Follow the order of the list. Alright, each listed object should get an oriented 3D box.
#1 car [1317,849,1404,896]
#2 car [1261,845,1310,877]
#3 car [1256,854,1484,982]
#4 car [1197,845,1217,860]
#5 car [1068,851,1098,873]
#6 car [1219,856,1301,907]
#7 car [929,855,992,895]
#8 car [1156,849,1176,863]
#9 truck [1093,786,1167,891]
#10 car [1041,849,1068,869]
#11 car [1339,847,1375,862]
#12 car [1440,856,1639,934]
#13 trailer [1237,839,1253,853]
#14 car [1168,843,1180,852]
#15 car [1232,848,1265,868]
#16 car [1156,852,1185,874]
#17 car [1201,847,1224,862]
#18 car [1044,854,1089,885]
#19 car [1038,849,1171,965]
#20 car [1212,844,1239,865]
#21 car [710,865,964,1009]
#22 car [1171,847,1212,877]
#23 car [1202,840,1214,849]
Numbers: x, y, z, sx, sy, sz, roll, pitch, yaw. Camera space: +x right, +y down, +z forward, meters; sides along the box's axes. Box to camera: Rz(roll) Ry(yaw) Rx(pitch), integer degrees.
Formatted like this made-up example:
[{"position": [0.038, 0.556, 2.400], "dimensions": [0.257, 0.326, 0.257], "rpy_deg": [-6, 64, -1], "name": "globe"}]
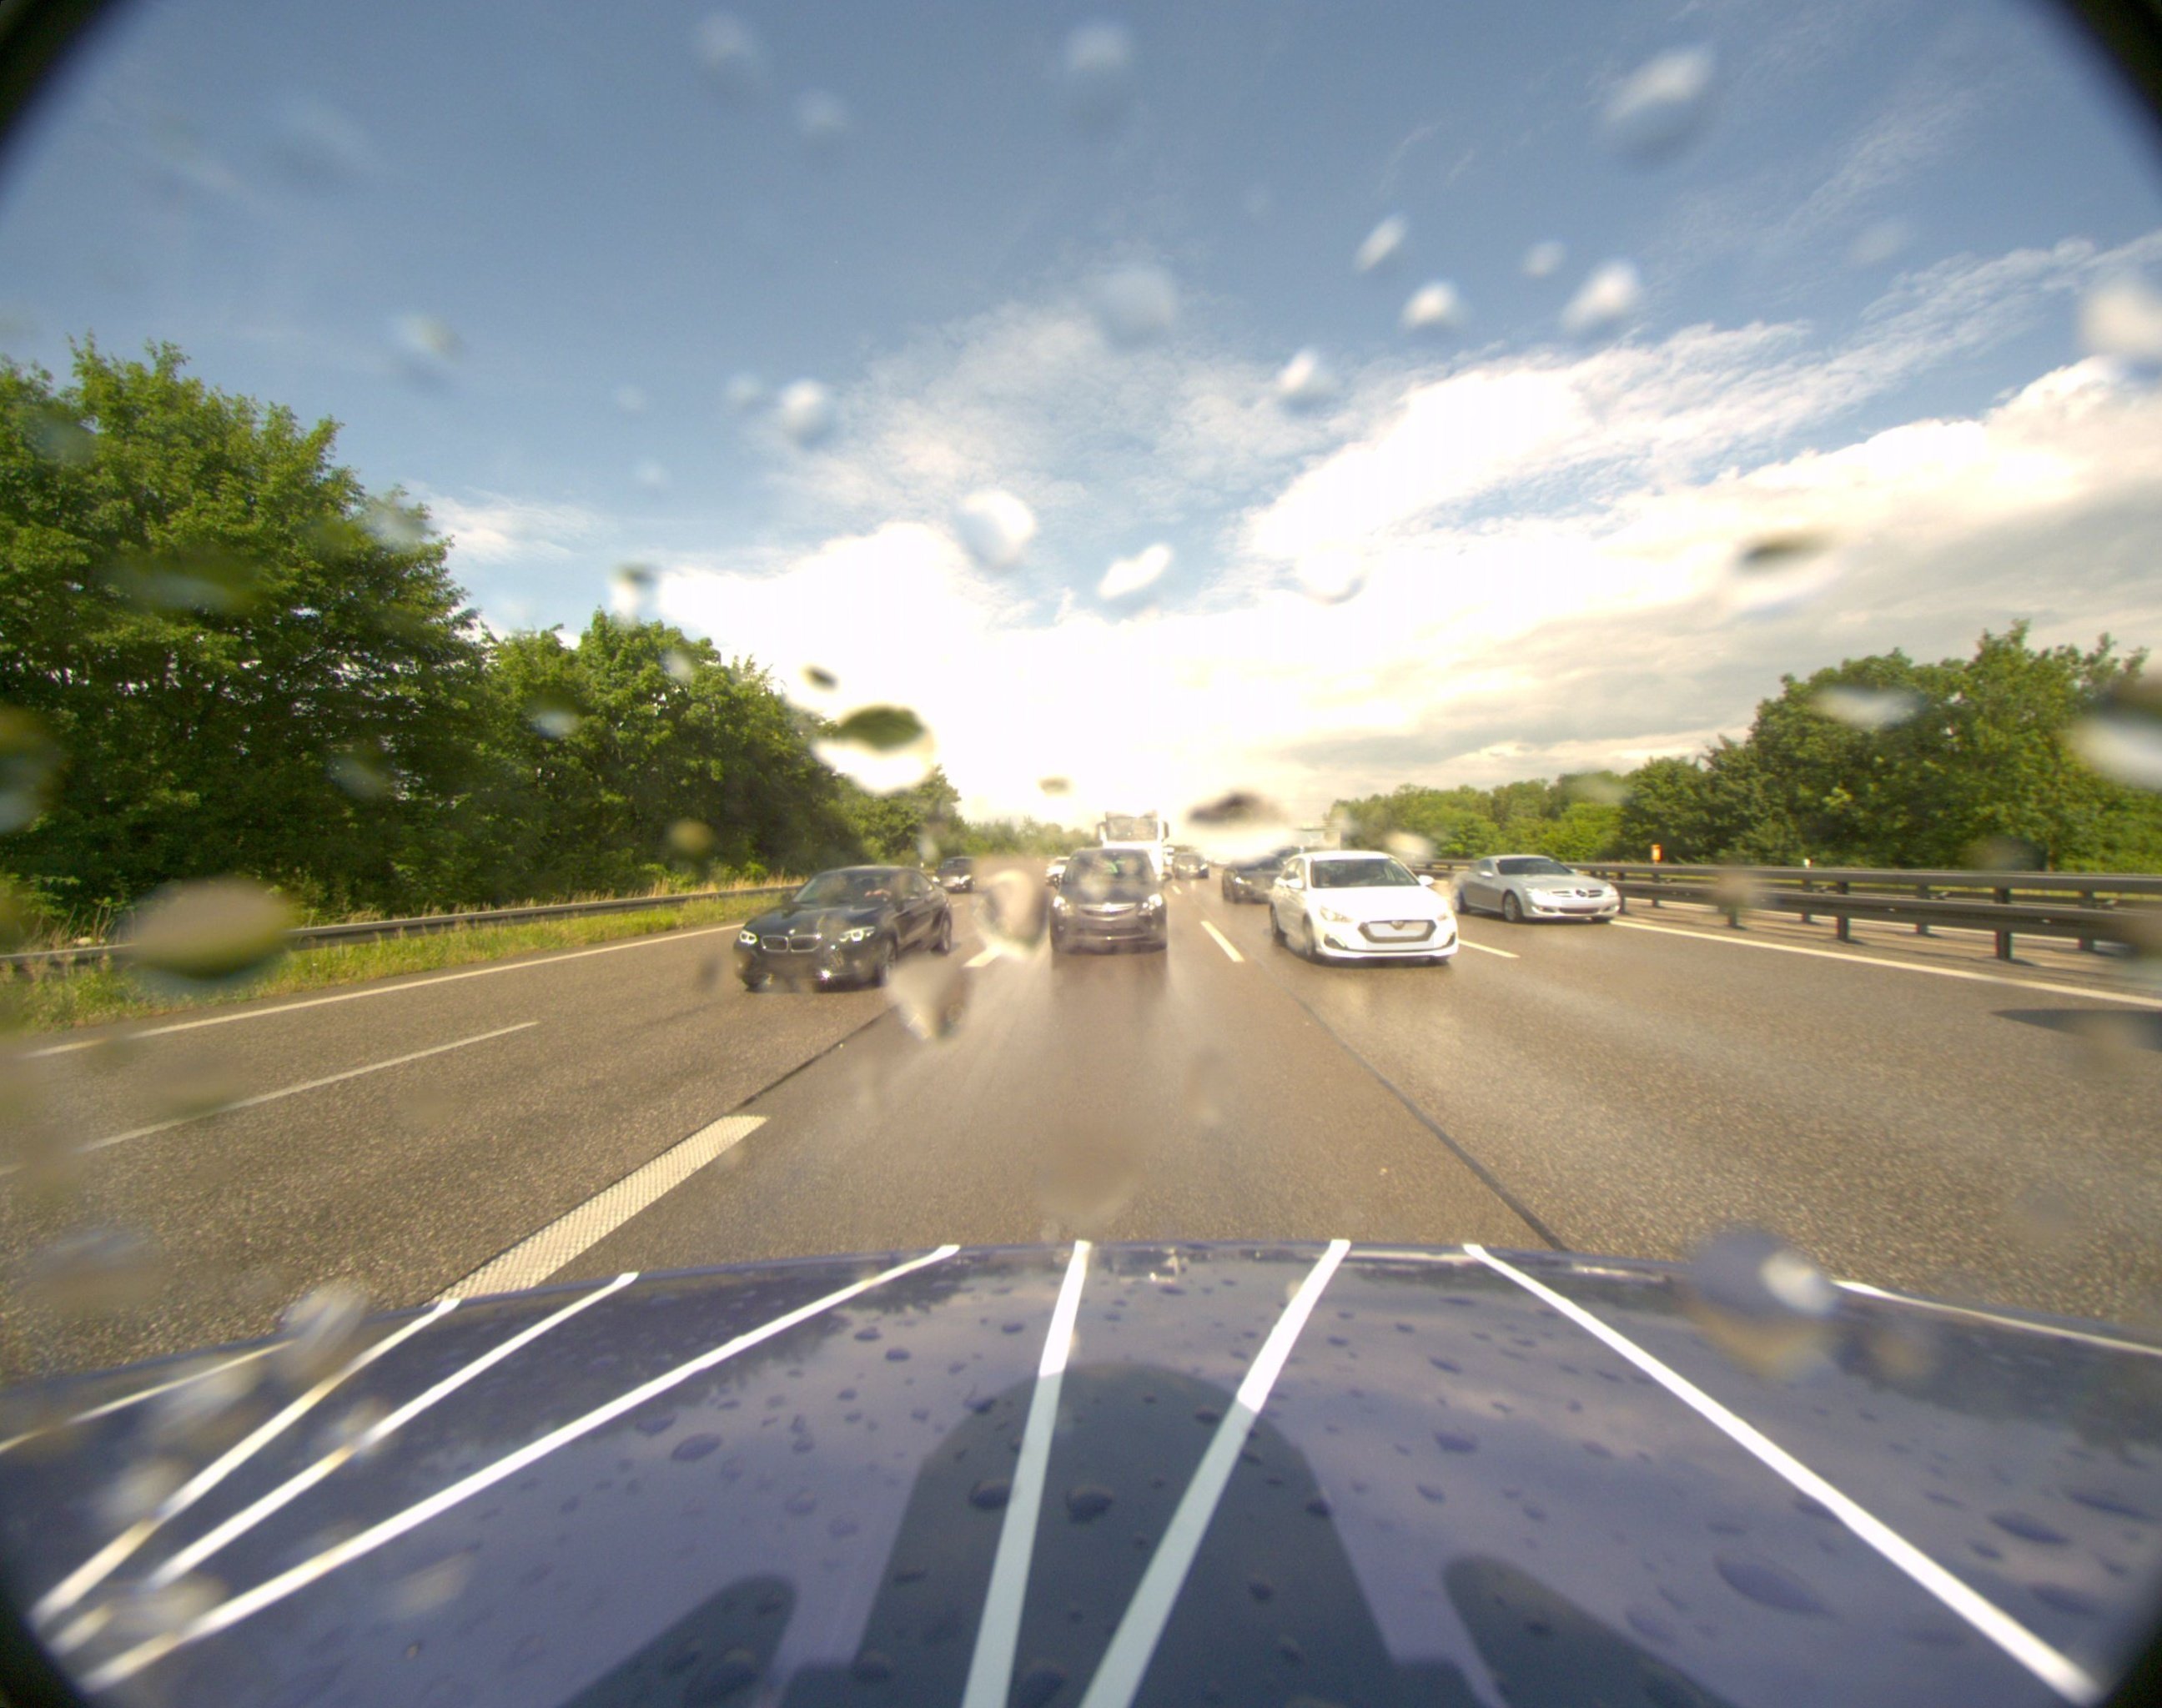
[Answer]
[{"position": [9.588, 0.587, 26.407], "dimensions": [1.770, 1.417, 4.139], "rpy_deg": [-2, 1, 5], "name": "car"}, {"position": [11.215, 0.352, 41.859], "dimensions": [1.874, 1.597, 4.230], "rpy_deg": [-2, 1, 5], "name": "car"}, {"position": [3.924, 0.764, 11.237], "dimensions": [1.885, 1.446, 4.549], "rpy_deg": [-1, 0, 4], "name": "car"}, {"position": [15.704, -0.156, 94.808], "dimensions": [1.998, 1.687, 4.000], "rpy_deg": [-3, 1, 4], "name": "car"}, {"position": [0.226, 0.583, 59.567], "dimensions": [1.998, 1.572, 4.654], "rpy_deg": [-1, 0, 4], "name": "car"}, {"position": [5.286, 0.762, 22.926], "dimensions": [1.728, 1.330, 4.288], "rpy_deg": [-1, 0, 4], "name": "car"}, {"position": [-5.186, 0.875, 33.328], "dimensions": [1.852, 1.559, 4.001], "rpy_deg": [-1, 1, 4], "name": "car"}, {"position": [9.657, 0.216, 86.725], "dimensions": [1.998, 1.471, 4.000], "rpy_deg": [-3, 1, 4], "name": "car"}, {"position": [2.321, -0.643, 34.002], "dimensions": [2.816, 4.083, 7.447], "rpy_deg": [-2, 1, 6], "name": "truck"}, {"position": [-2.265, 0.443, 66.240], "dimensions": [1.824, 1.611, 4.364], "rpy_deg": [-2, 0, 4], "name": "car"}, {"position": [29.493, 0.028, 81.445], "dimensions": [2.122, 1.478, 5.037], "rpy_deg": [-1, 0, 2], "name": "car"}, {"position": [8.879, 0.712, 15.157], "dimensions": [1.728, 1.270, 4.064], "rpy_deg": [-1, 0, 4], "name": "car"}, {"position": [41.582, -2.081, 192.893], "dimensions": [2.736, 3.362, 9.564], "rpy_deg": [-1, 0, 5], "name": "trailer"}, {"position": [18.746, -1.344, 153.580], "dimensions": [1.998, 1.687, 4.000], "rpy_deg": [-3, 1, 4], "name": "car"}, {"position": [12.487, 0.296, 56.828], "dimensions": [1.771, 1.371, 4.000], "rpy_deg": [-1, 1, 4], "name": "car"}, {"position": [6.980, 0.683, 59.460], "dimensions": [1.998, 1.471, 4.000], "rpy_deg": [-3, 1, 4], "name": "car"}, {"position": [14.721, 0.008, 85.090], "dimensions": [1.998, 1.471, 4.000], "rpy_deg": [-3, 1, 4], "name": "car"}, {"position": [-0.695, 0.763, 39.635], "dimensions": [1.830, 1.417, 4.512], "rpy_deg": [-2, 1, 5], "name": "car"}, {"position": [0.483, 0.758, 13.152], "dimensions": [1.883, 1.638, 4.397], "rpy_deg": [-1, 0, 4], "name": "car"}, {"position": [13.729, 0.012, 72.453], "dimensions": [1.998, 1.739, 4.000], "rpy_deg": [-3, 1, 4], "name": "car"}, {"position": [-3.021, 0.952, 10.475], "dimensions": [1.852, 1.455, 4.256], "rpy_deg": [-1, 1, 4], "name": "car"}, {"position": [6.332, 0.421, 43.872], "dimensions": [1.998, 1.477, 4.000], "rpy_deg": [-3, 1, 4], "name": "car"}, {"position": [26.439, -1.991, 157.846], "dimensions": [1.998, 1.768, 4.462], "rpy_deg": [-2, 0, 4], "name": "car"}]
